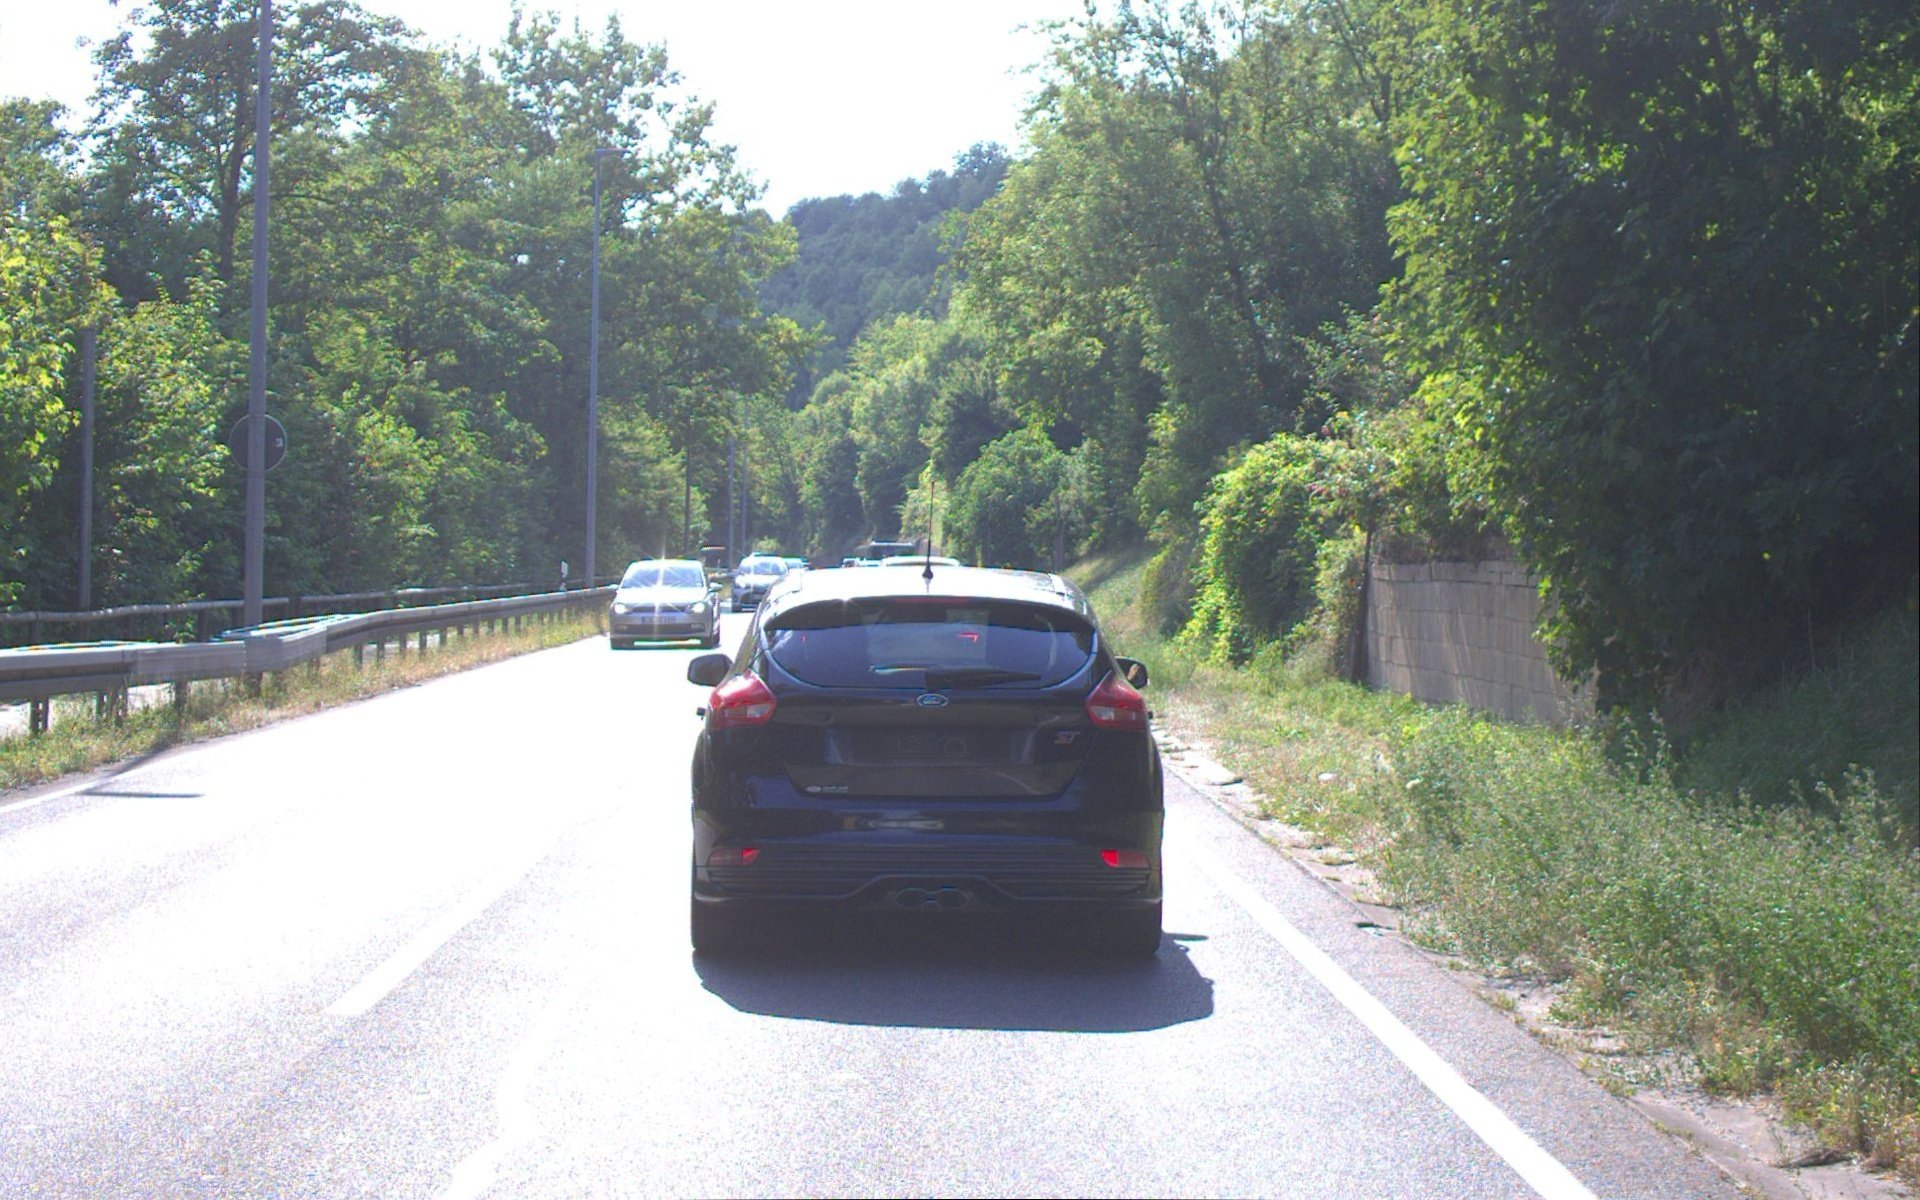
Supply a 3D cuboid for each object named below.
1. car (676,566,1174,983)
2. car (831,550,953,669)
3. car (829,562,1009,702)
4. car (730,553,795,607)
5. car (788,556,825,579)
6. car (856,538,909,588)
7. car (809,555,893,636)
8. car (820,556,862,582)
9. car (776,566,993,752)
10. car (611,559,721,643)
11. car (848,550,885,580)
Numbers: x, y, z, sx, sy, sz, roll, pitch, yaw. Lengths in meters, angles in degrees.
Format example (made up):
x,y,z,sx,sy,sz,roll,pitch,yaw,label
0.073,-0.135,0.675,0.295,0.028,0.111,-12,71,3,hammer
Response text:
x,y,z,sx,sy,sz,roll,pitch,yaw,label
-0.149,0.599,14.114,1.739,1.451,4.000,1,0,-1,car
-0.941,0.104,48.175,1.630,1.590,4.000,0,1,-1,car
-0.437,0.296,36.480,1.804,1.387,4.000,0,1,-1,car
-5.538,-0.580,96.632,1.681,1.458,4.198,1,1,-1,car
-10.324,-2.184,230.847,1.993,1.514,4.001,0,1,-10,car
-2.813,-1.335,124.307,1.863,1.774,4.000,0,1,-2,car
-2.188,-0.123,70.015,1.630,1.590,4.000,0,1,-1,car
-6.975,-1.818,201.331,1.993,1.514,4.001,0,1,-8,car
-0.565,0.433,28.570,1.661,1.413,4.000,0,1,1,car
-4.969,-0.007,58.552,1.623,1.372,4.048,0,1,-1,car
-4.768,-1.796,175.575,1.819,1.514,4.000,0,1,-1,car
